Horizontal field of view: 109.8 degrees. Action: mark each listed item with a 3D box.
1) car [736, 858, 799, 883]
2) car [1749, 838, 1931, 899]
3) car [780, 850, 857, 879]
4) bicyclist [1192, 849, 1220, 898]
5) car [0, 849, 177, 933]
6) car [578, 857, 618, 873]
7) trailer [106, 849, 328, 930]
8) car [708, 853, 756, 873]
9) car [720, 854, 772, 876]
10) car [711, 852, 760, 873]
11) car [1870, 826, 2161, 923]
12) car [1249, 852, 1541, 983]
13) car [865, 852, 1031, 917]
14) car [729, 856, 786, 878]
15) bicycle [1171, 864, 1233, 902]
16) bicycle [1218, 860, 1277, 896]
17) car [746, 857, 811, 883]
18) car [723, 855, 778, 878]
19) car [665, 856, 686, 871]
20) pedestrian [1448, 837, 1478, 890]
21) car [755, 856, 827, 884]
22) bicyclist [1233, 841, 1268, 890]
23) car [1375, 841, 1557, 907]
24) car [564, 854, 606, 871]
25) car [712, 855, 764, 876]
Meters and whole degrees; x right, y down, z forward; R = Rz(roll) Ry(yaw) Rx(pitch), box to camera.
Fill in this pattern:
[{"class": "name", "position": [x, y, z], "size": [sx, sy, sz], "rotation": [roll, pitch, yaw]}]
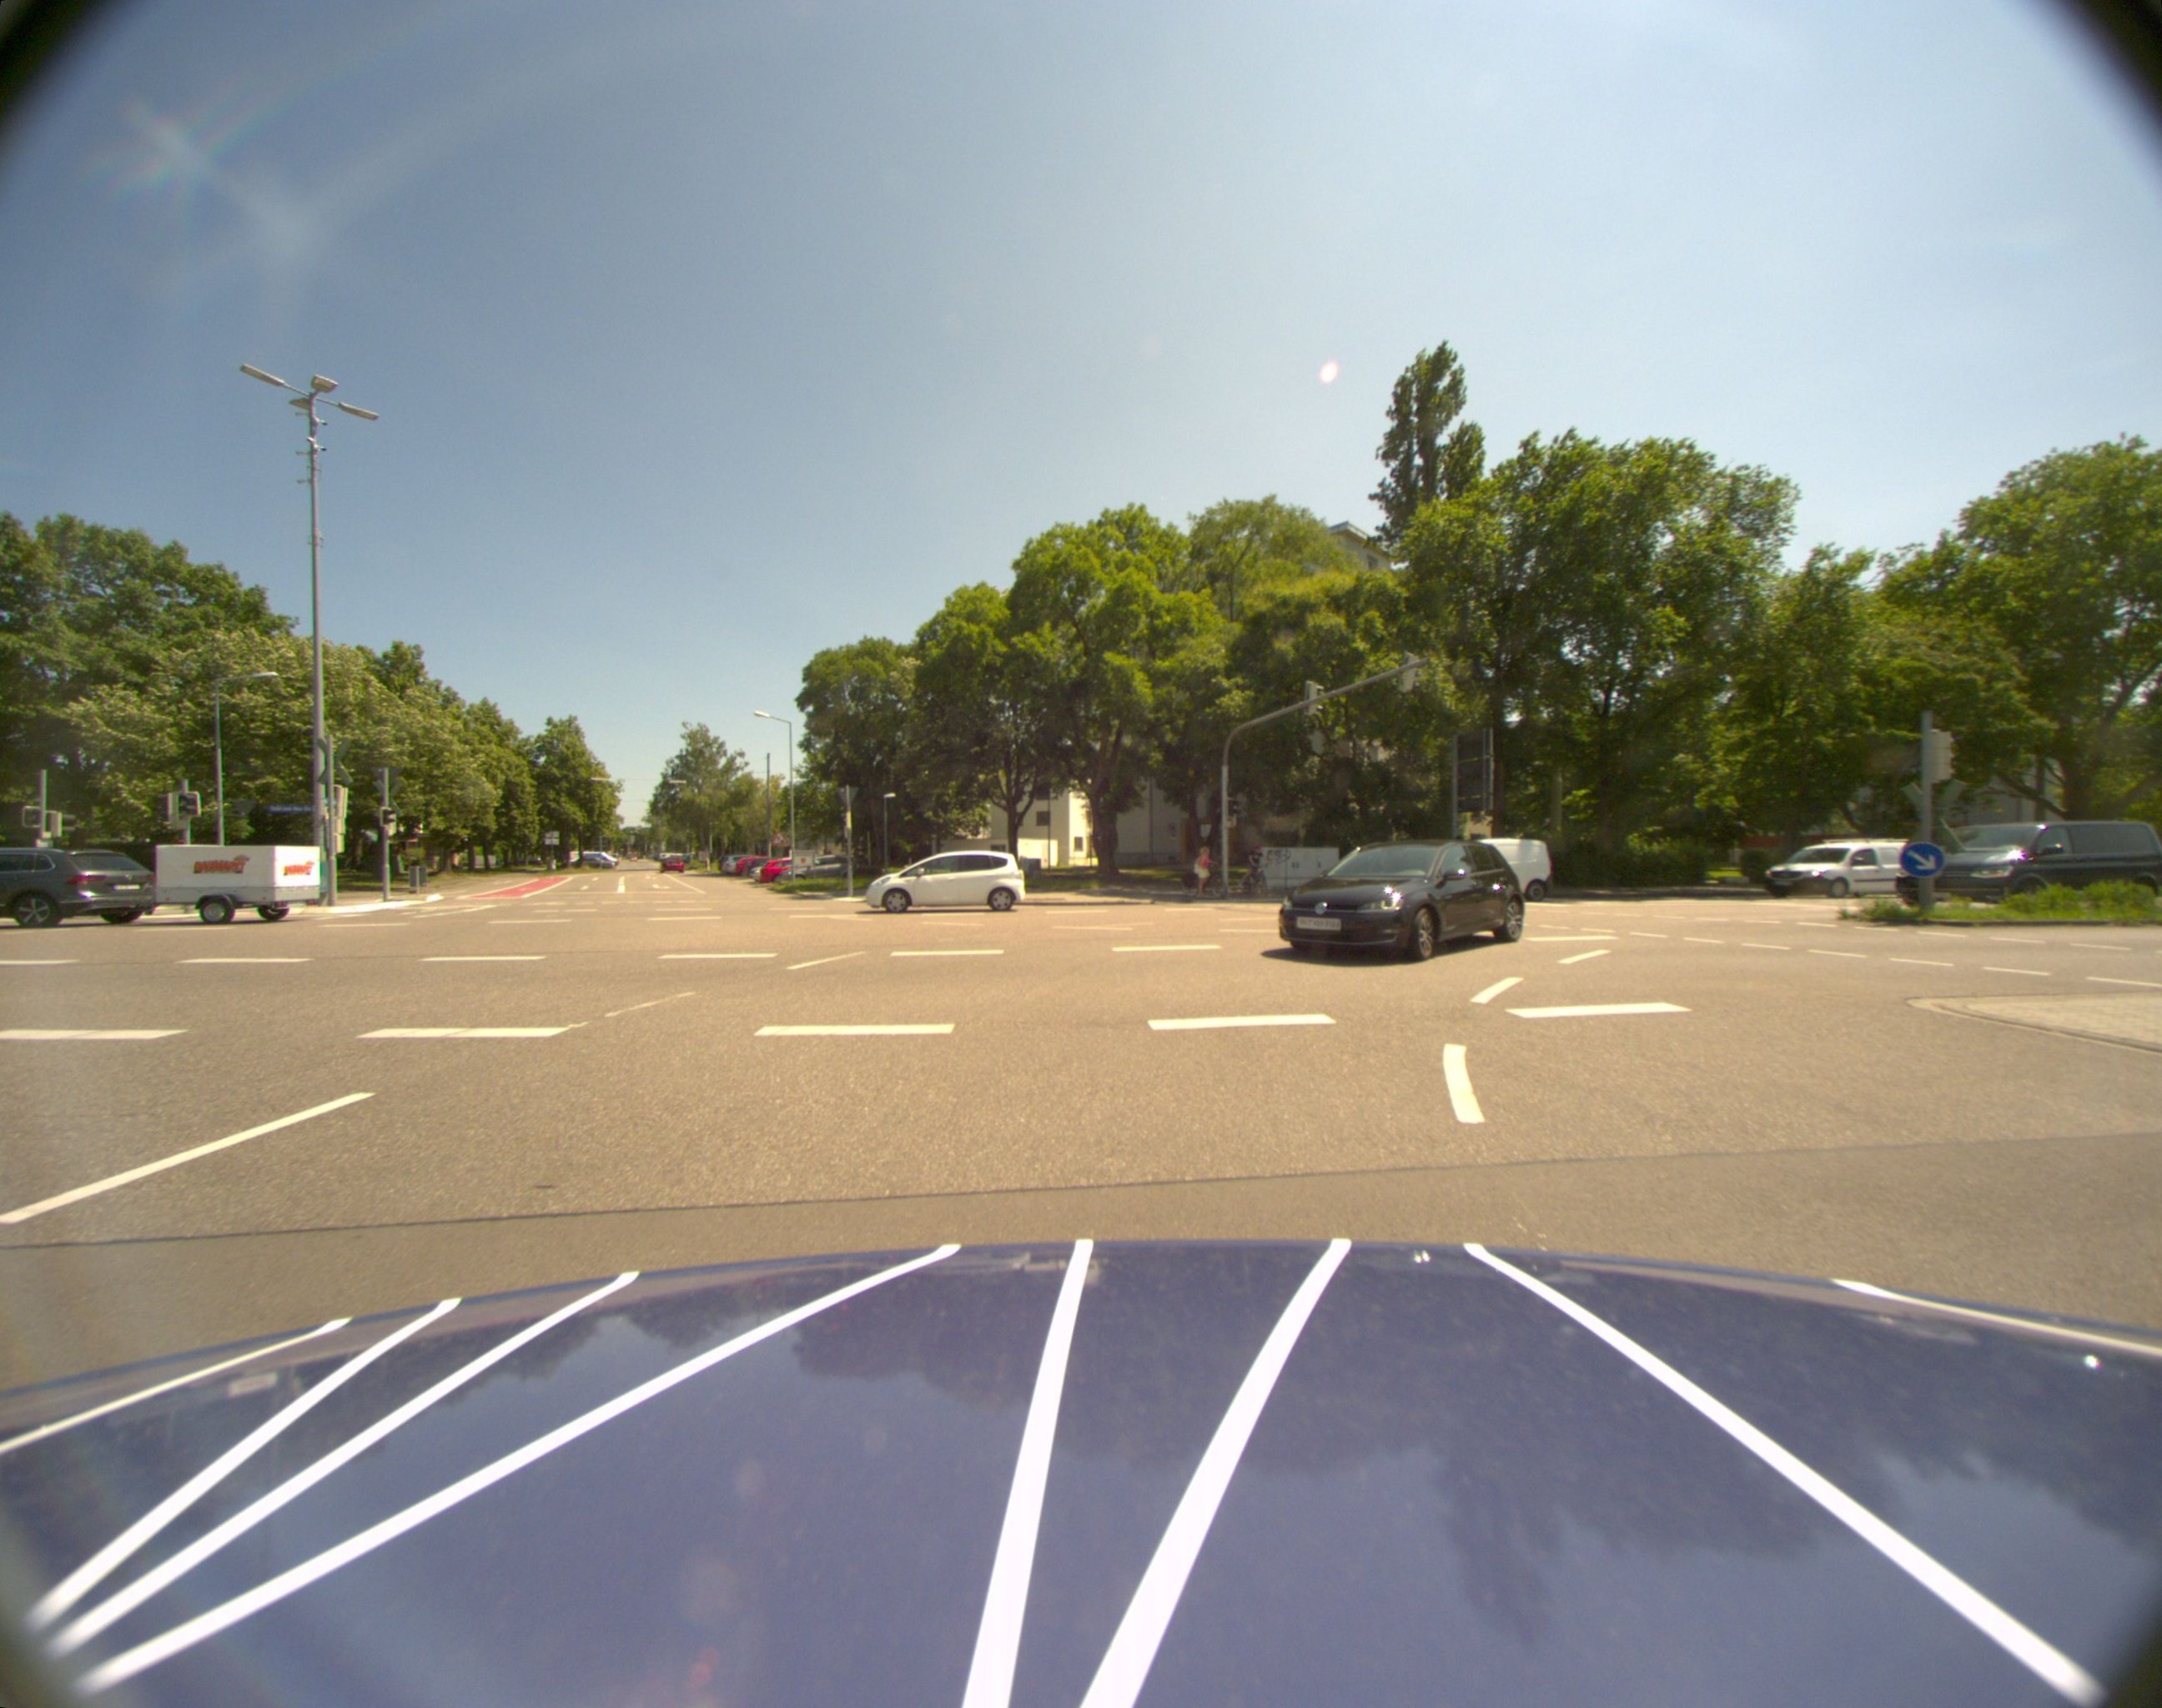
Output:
[{"class": "car", "position": [-20.164, 1.048, 48.908], "size": [3.498, 1.420, 1.581], "rotation": [-2, -1, -32]}, {"class": "car", "position": [23.978, 0.462, 24.069], "size": [4.393, 1.782, 1.895], "rotation": [-1, -1, -10]}, {"class": "car", "position": [-13.901, 0.552, 40.225], "size": [3.498, 1.420, 1.581], "rotation": [-2, -1, -35]}, {"class": "bicyclist", "position": [3.920, 0.596, 23.772], "size": [0.627, 1.460, 0.617], "rotation": [3, 4, 36]}, {"class": "car", "position": [-22.269, 0.763, 15.778], "size": [4.409, 1.648, 1.730], "rotation": [-1, 0, -10]}, {"class": "car", "position": [-51.161, 1.148, 80.564], "size": [3.498, 1.467, 1.581], "rotation": [-2, -1, -32]}, {"class": "trailer", "position": [-18.641, 0.732, 16.516], "size": [2.938, 1.645, 1.407], "rotation": [-1, 0, -10]}, {"class": "car", "position": [-29.840, 0.779, 64.988], "size": [3.498, 1.570, 1.581], "rotation": [-2, -1, -32]}, {"class": "car", "position": [-25.897, 0.822, 58.746], "size": [3.498, 1.545, 1.581], "rotation": [-2, -1, -32]}, {"class": "car", "position": [-28.721, 0.705, 63.186], "size": [3.498, 1.570, 1.581], "rotation": [-2, -1, -32]}, {"class": "car", "position": [20.349, 0.395, 16.501], "size": [4.846, 1.920, 1.941], "rotation": [-1, 1, -7]}, {"class": "car", "position": [4.221, 0.669, 9.960], "size": [4.061, 1.396, 1.705], "rotation": [0, 0, -37]}, {"class": "car", "position": [-3.312, 0.726, 19.099], "size": [3.899, 1.496, 1.730], "rotation": [0, 0, -11]}, {"class": "car", "position": [-23.118, 0.919, 54.384], "size": [3.498, 1.420, 1.581], "rotation": [-2, -1, -32]}, {"class": "bicycle", "position": [3.790, 0.903, 23.868], "size": [1.800, 1.057, 0.617], "rotation": [3, 4, 36]}, {"class": "bicycle", "position": [5.482, 0.781, 25.081], "size": [1.800, 1.057, 0.617], "rotation": [3, 4, 36]}, {"class": "car", "position": [-18.720, 0.983, 47.019], "size": [3.498, 1.420, 1.581], "rotation": [-2, -1, -32]}, {"class": "car", "position": [-24.659, 0.953, 56.684], "size": [3.498, 1.545, 1.581], "rotation": [-2, -1, -32]}, {"class": "car", "position": [-37.519, 0.903, 70.218], "size": [1.587, 1.220, 3.485], "rotation": [-2, -1, -29]}, {"class": "pedestrian", "position": [13.201, 0.325, 26.277], "size": [0.679, 1.825, 0.607], "rotation": [-1, 2, -11]}, {"class": "car", "position": [-16.283, 0.916, 42.756], "size": [3.498, 1.420, 1.581], "rotation": [-2, -1, -32]}, {"class": "bicyclist", "position": [5.572, 0.374, 25.021], "size": [0.906, 1.536, 0.649], "rotation": [3, 4, 36]}, {"class": "car", "position": [10.802, 0.532, 21.431], "size": [4.343, 1.707, 1.810], "rotation": [-1, 0, -9]}, {"class": "car", "position": [-54.922, 0.945, 84.177], "size": [3.779, 1.718, 1.758], "rotation": [-2, -1, -32]}, {"class": "car", "position": [-27.262, 0.895, 60.383], "size": [3.498, 1.545, 1.581], "rotation": [-2, -1, -32]}]
